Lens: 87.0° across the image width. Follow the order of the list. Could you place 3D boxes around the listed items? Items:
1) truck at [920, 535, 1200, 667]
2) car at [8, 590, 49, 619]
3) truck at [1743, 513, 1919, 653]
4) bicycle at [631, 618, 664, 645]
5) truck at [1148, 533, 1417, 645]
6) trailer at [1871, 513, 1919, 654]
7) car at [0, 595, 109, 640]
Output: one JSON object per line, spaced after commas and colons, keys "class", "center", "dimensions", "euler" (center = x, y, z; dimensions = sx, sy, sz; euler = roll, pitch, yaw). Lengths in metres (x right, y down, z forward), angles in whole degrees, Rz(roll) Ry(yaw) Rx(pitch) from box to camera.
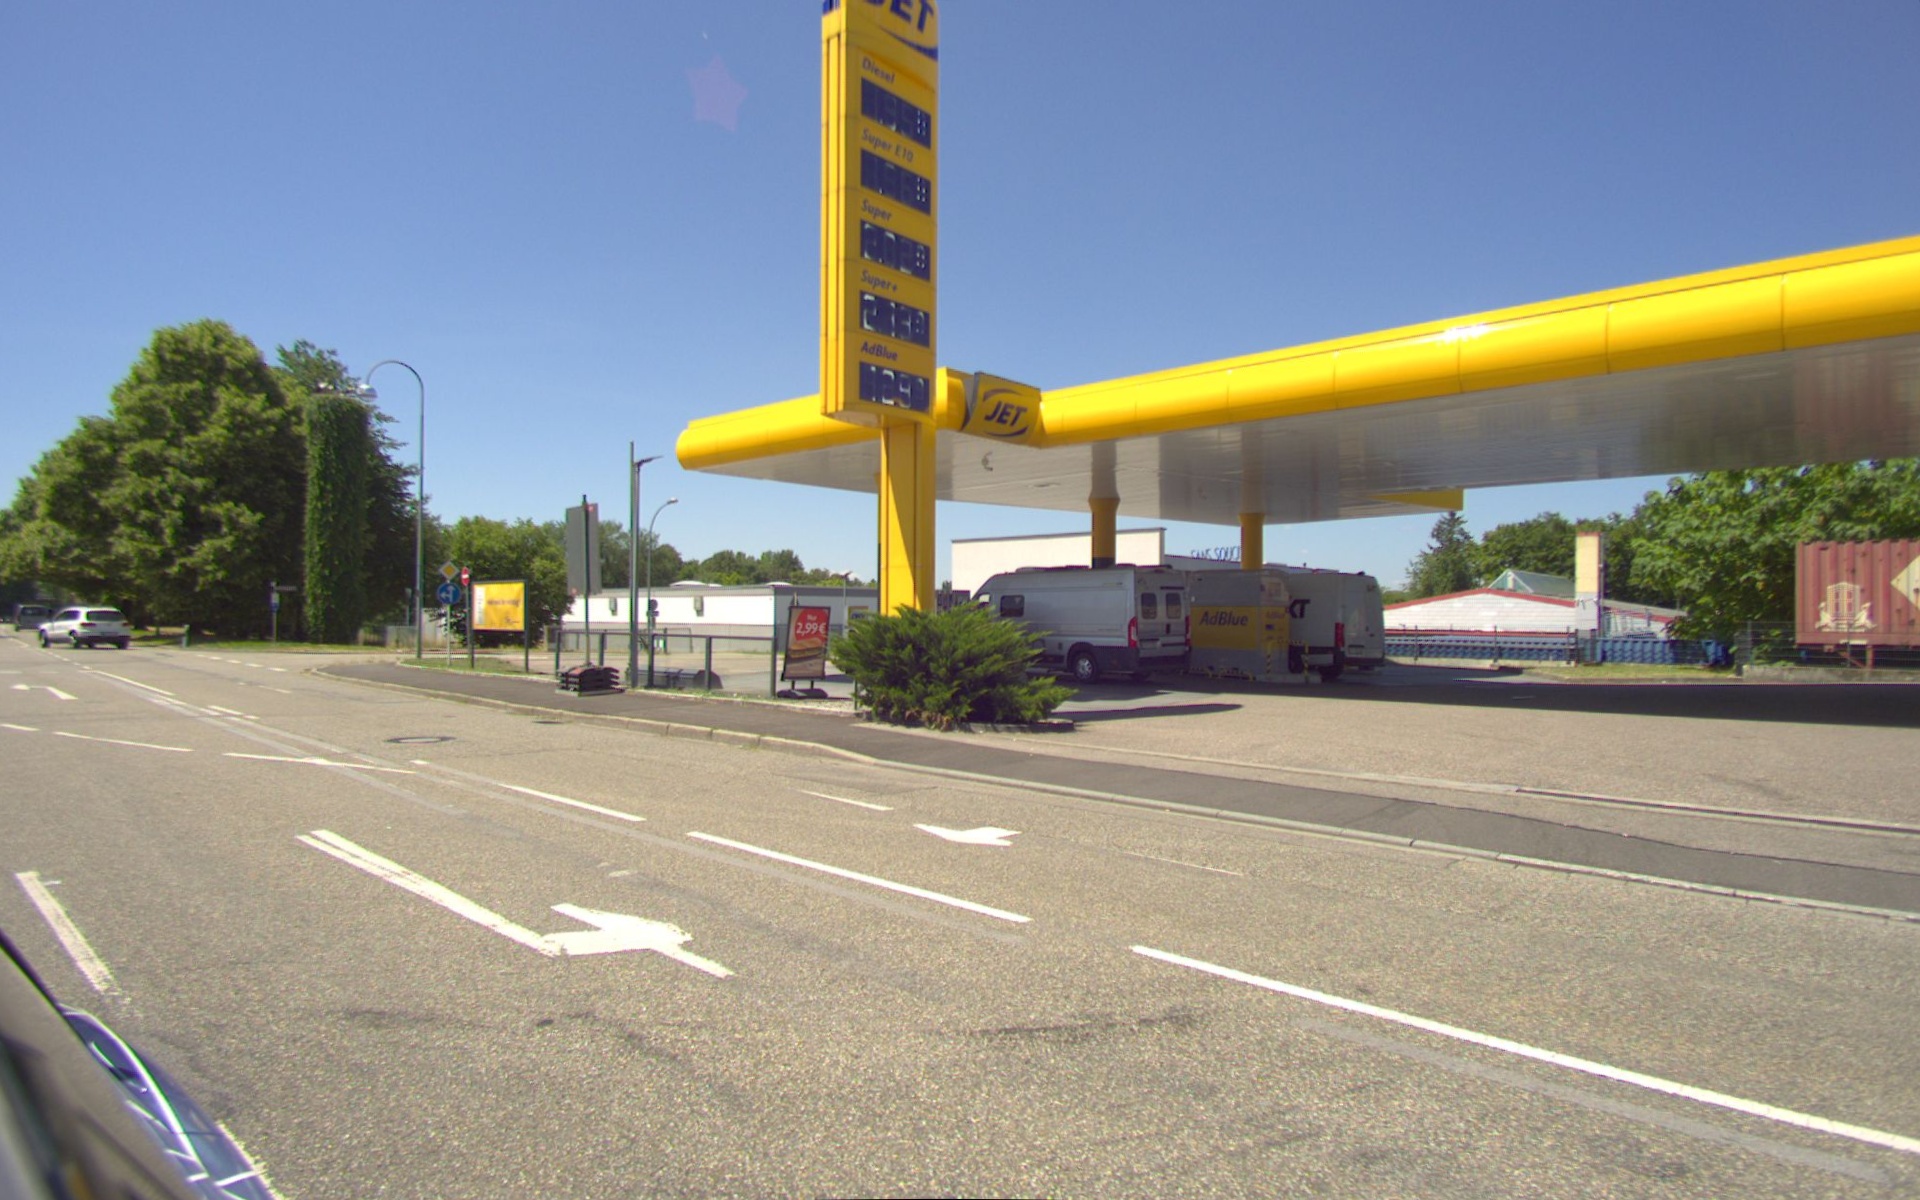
{"class": "truck", "center": [2.063, 0.044, 23.366], "dimensions": [2.206, 2.618, 6.741], "euler": [1, -1, -42]}
{"class": "car", "center": [-64.618, 0.340, 70.191], "dimensions": [4.365, 1.786, 1.775], "euler": [-3, -6, 44]}
{"class": "truck", "center": [21.640, -0.353, 25.242], "dimensions": [3.187, 3.267, 1.826], "euler": [-2, -2, 41]}
{"class": "bicycle", "center": [-15.821, 1.612, 51.215], "dimensions": [1.517, 1.359, 0.395], "euler": [2, -2, -39]}
{"class": "truck", "center": [8.458, -0.230, 27.383], "dimensions": [2.878, 2.618, 6.619], "euler": [1, -1, -33]}
{"class": "trailer", "center": [24.456, -0.396, 22.679], "dimensions": [5.910, 3.244, 1.845], "euler": [-1, -2, 41]}
{"class": "car", "center": [-36.083, 0.707, 40.154], "dimensions": [4.223, 1.685, 1.959], "euler": [0, -2, 25]}
